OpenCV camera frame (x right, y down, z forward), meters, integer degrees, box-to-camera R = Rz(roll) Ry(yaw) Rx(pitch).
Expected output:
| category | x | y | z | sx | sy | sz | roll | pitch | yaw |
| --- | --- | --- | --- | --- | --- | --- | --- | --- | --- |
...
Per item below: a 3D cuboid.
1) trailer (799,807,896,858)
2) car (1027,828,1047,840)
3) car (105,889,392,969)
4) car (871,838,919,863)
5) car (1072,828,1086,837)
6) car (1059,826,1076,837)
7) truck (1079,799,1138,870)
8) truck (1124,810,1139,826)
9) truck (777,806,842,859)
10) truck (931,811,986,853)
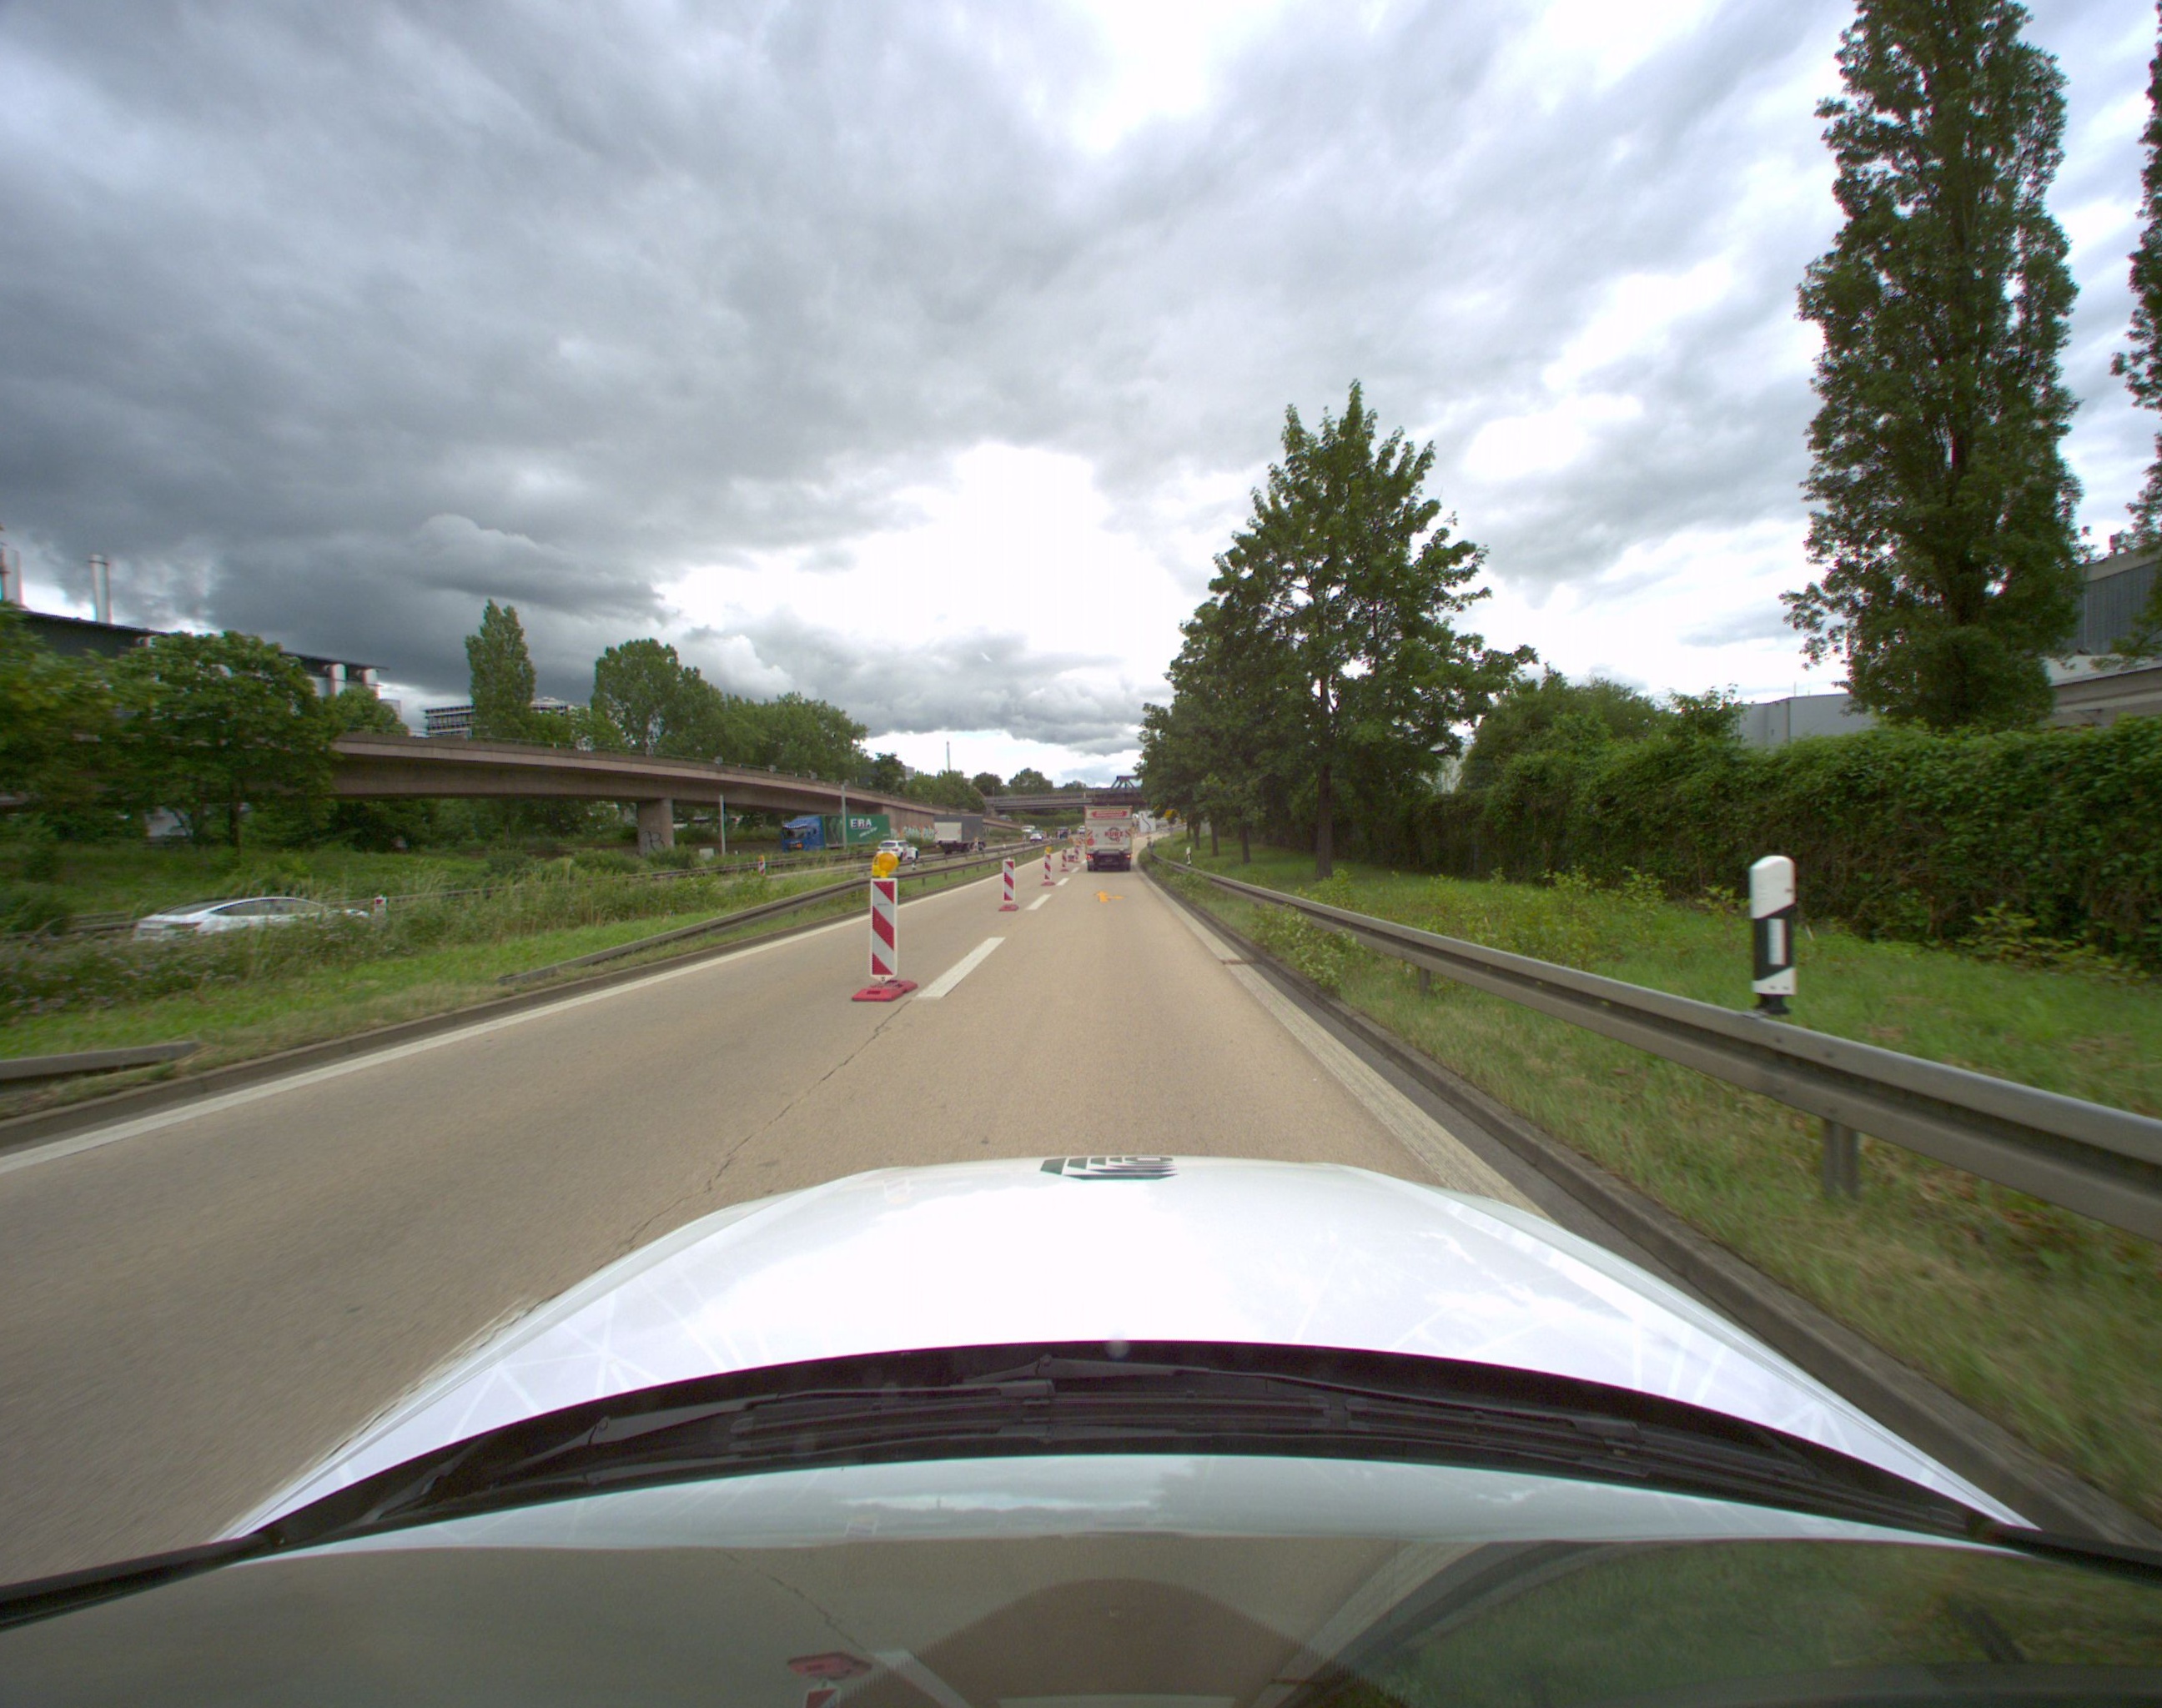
| category | x | y | z | sx | sy | sz | roll | pitch | yaw |
| --- | --- | --- | --- | --- | --- | --- | --- | --- | --- |
| trailer | -21.637 | -2.077 | 76.700 | 2.754 | 4.293 | 14.021 | -1 | 2 | 10 |
| car | -5.823 | -2.663 | 108.594 | 1.983 | 1.617 | 4.008 | -1 | 2 | 7 |
| car | -21.133 | 1.819 | 21.054 | 1.981 | 1.455 | 4.817 | -1 | 2 | 11 |
| car | -13.961 | -0.273 | 61.318 | 1.981 | 1.712 | 4.114 | -1 | 2 | 11 |
| car | -0.370 | -3.733 | 140.641 | 1.983 | 1.617 | 4.008 | -1 | 2 | 7 |
| car | -2.086 | -3.426 | 123.449 | 1.983 | 1.617 | 4.008 | -1 | 2 | 7 |
| truck | 1.601 | -1.077 | 46.858 | 3.039 | 3.673 | 7.932 | -1 | 0 | 2 |
| truck | 13.071 | -9.236 | 210.889 | 3.269 | 3.852 | 7.680 | -1 | 2 | 7 |
| truck | -22.994 | -1.820 | 69.230 | 2.735 | 4.271 | 5.520 | -1 | 2 | 11 |
| truck | -11.202 | -2.033 | 75.313 | 3.034 | 3.655 | 7.412 | -1 | 2 | 7 |
